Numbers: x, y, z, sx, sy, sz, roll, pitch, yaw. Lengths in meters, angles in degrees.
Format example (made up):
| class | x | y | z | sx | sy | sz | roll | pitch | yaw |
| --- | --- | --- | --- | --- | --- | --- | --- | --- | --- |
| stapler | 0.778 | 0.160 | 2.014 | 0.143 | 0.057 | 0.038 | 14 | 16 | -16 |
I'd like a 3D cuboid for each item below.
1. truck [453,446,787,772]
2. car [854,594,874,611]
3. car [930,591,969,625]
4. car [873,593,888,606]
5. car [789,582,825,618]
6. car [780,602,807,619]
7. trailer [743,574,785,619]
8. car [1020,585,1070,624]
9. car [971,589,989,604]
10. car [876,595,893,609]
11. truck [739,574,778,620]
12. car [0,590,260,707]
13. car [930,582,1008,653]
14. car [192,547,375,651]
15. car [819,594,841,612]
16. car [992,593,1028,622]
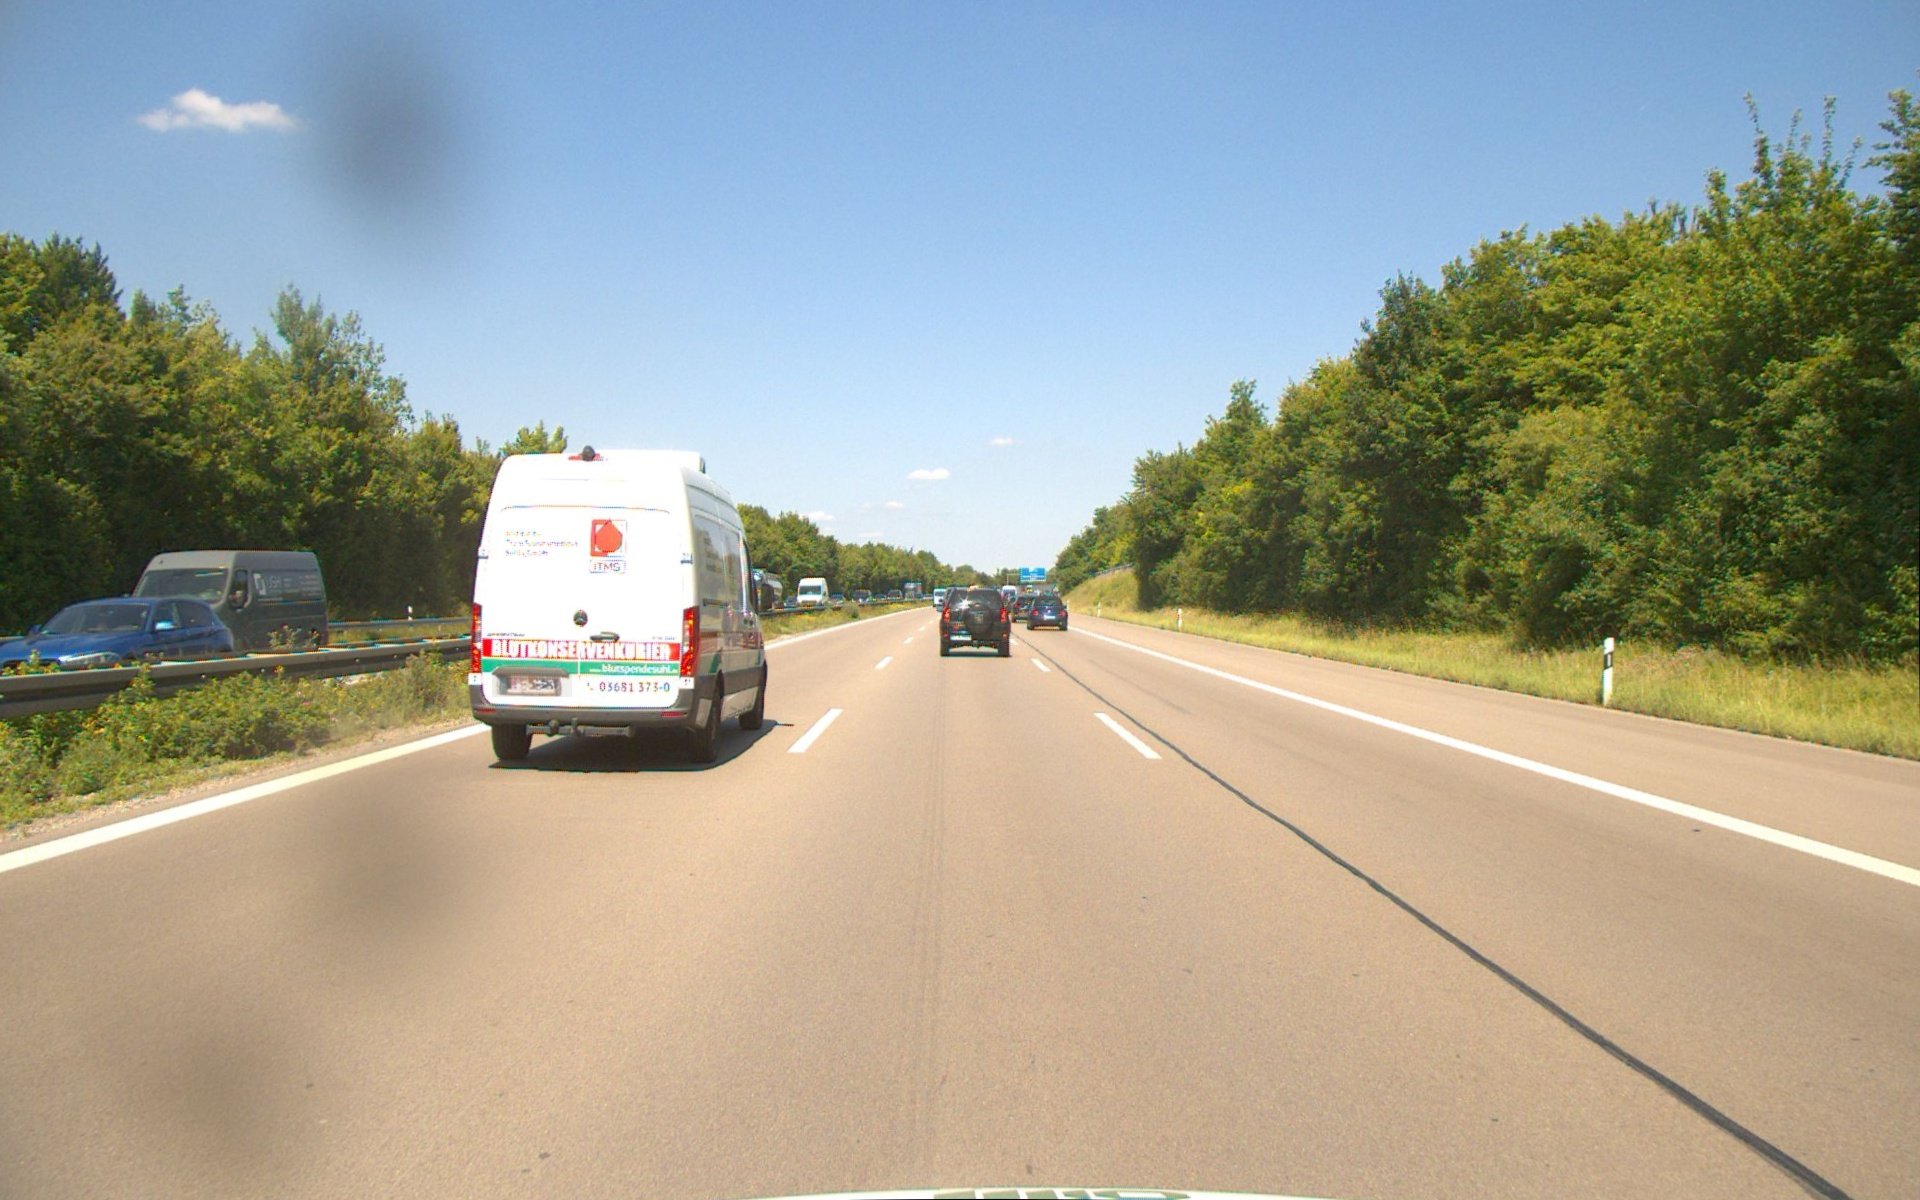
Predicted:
| class | x | y | z | sx | sy | sz | roll | pitch | yaw |
| --- | --- | --- | --- | --- | --- | --- | --- | --- | --- |
| truck | -3.100 | 0.049 | 16.707 | 1.953 | 2.586 | 6.691 | 1 | 0 | 0 |
| car | -10.102 | 0.258 | 174.631 | 1.867 | 1.820 | 5.059 | -1 | 0 | 0 |
| car | -0.535 | 0.398 | 86.800 | 1.952 | 1.736 | 4.336 | -1 | 0 | 1 |
| car | -11.711 | -0.085 | 242.655 | 1.953 | 1.887 | 4.498 | 0 | -1 | 0 |
| car | -11.457 | -0.003 | 124.250 | 2.028 | 2.600 | 6.400 | -1 | 0 | 0 |
| car | -14.485 | 0.887 | 143.974 | 1.867 | 1.440 | 4.891 | 0 | 0 | 0 |
| trailer | -18.194 | -0.333 | 154.168 | 2.710 | 3.949 | 9.455 | -3 | 0 | -1 |
| car | 3.758 | 0.221 | 73.851 | 1.953 | 1.713 | 3.999 | 0 | -1 | -1 |
| car | 2.416 | -0.408 | 203.537 | 1.953 | 1.780 | 4.203 | 0 | 0 | -2 |
| car | -9.880 | 0.263 | 217.636 | 1.952 | 1.887 | 4.499 | 0 | -1 | 1 |
| truck | -18.084 | -0.297 | 148.879 | 2.676 | 3.950 | 6.320 | -3 | 0 | -1 |
| car | -11.169 | 0.578 | 22.207 | 1.690 | 1.399 | 4.544 | -1 | 0 | -1 |
| car | 0.191 | 0.443 | 41.690 | 1.867 | 1.694 | 3.999 | 0 | -1 | -1 |
| car | -14.817 | 0.003 | 36.604 | 1.953 | 2.133 | 5.248 | 0 | -1 | -1 |
| car | -14.393 | 0.356 | 183.071 | 1.952 | 1.887 | 4.499 | 0 | -1 | 1 |
| car | 2.819 | 0.443 | 93.823 | 1.805 | 1.640 | 3.999 | 0 | -1 | -1 |
